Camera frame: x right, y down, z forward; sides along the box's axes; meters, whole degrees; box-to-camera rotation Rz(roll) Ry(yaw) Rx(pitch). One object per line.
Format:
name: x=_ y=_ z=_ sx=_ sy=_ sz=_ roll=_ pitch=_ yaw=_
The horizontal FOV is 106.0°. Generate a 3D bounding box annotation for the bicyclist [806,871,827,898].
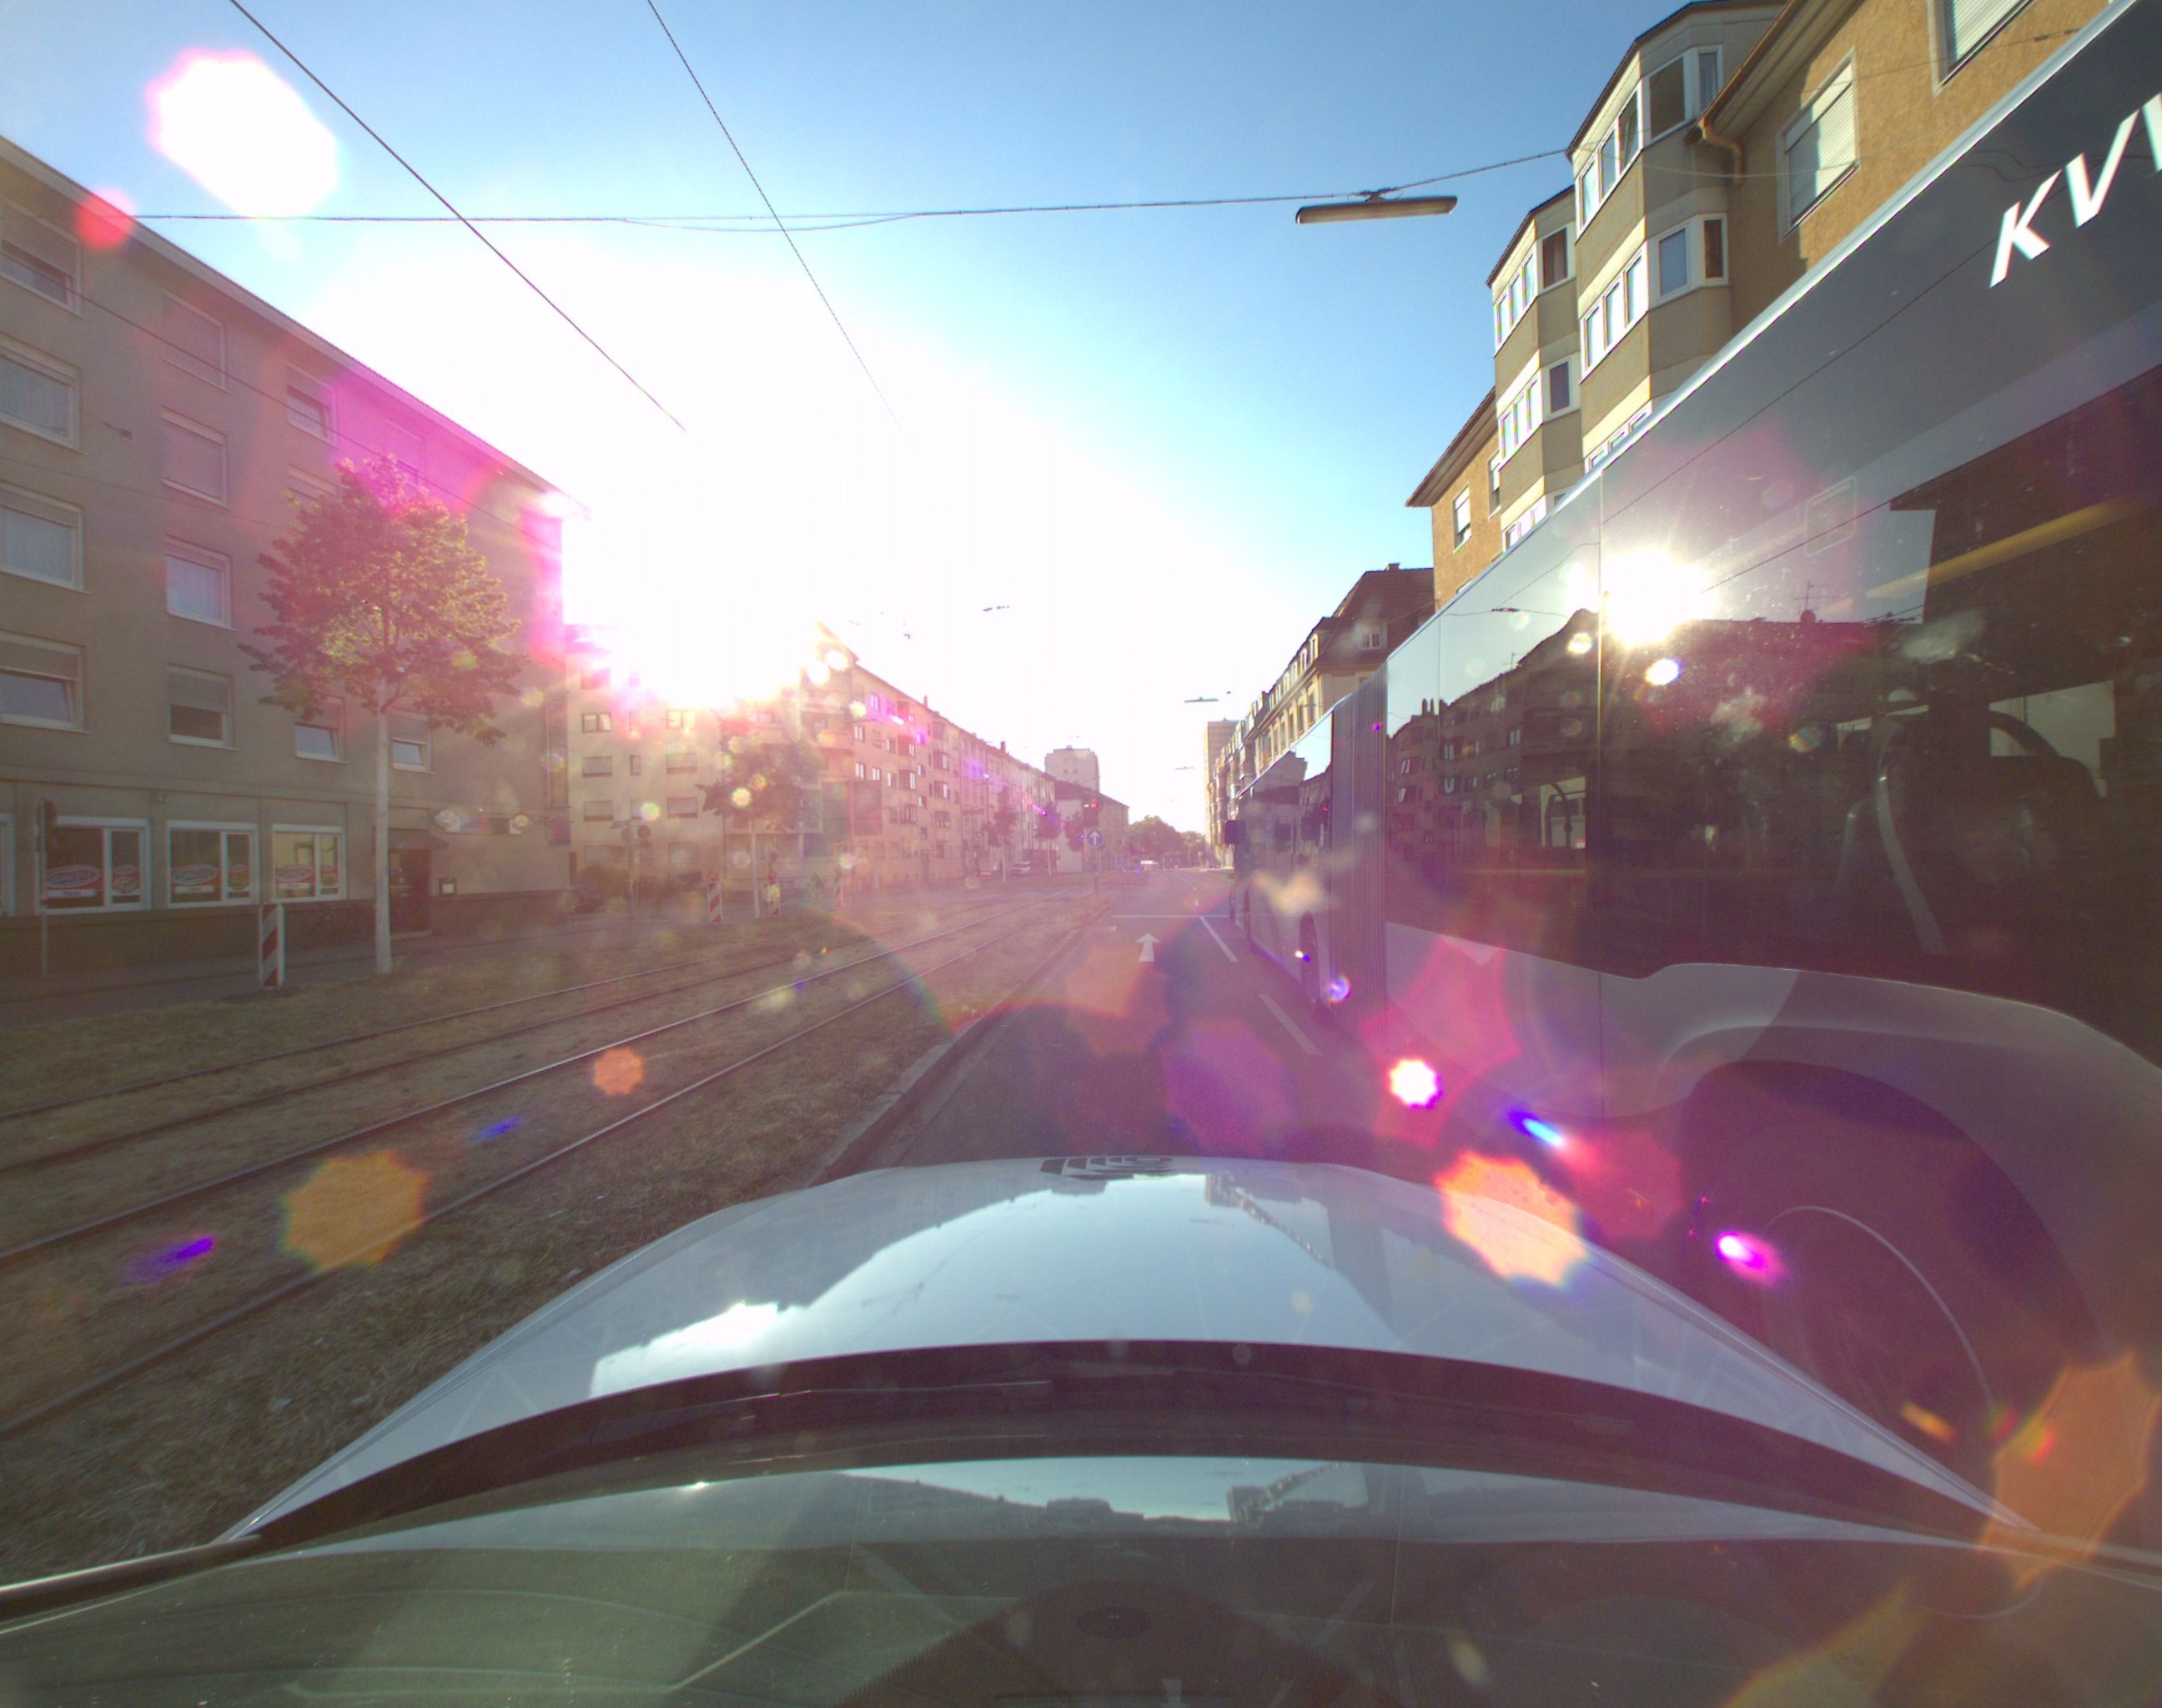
bicyclist: x=-14.766 y=1.688 z=45.436 sx=0.522 sy=1.447 sz=0.971 roll=-3 pitch=-1 yaw=36

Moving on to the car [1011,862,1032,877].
car: x=-7.390 y=1.907 z=101.585 sx=1.802 sy=1.798 sz=4.253 roll=0 pitch=-1 yaw=7

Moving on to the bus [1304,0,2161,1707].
bus: x=2.919 y=-0.040 z=2.616 sx=2.725 sy=3.056 sz=8.866 roll=-1 pitch=-1 yaw=5

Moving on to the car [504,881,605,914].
car: x=-27.053 y=2.232 z=41.942 sx=3.952 sy=1.440 sz=1.787 roll=-3 pitch=-1 yaw=-5

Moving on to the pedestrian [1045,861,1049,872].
pedestrian: x=-5.182 y=1.888 z=122.682 sx=0.493 sy=1.658 sz=0.409 roll=-2 pitch=-1 yaw=5

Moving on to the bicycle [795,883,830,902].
bicycle: x=-14.897 y=2.126 z=45.233 sx=0.522 sy=0.984 sz=1.895 roll=-3 pitch=-1 yaw=36

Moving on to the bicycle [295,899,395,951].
bicycle: x=-18.293 y=1.738 z=20.291 sx=0.743 sy=1.115 sz=1.781 roll=-2 pitch=-1 yaw=5

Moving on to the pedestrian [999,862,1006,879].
pedestrian: x=-9.719 y=2.053 z=100.947 sx=0.783 sy=2.014 sz=0.891 roll=-2 pitch=-1 yaw=2

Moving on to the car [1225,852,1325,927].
car: x=4.596 y=0.803 z=19.848 sx=1.761 sy=1.575 sz=4.091 roll=-2 pitch=-1 yaw=5

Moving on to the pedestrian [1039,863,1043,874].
pedestrian: x=-6.000 y=2.213 z=122.411 sx=0.493 sy=1.658 sz=0.409 roll=-2 pitch=-1 yaw=5

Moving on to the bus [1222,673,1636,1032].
bus: x=3.759 y=0.029 z=11.584 sx=2.725 sy=3.056 sz=9.144 roll=-1 pitch=-1 yaw=5
